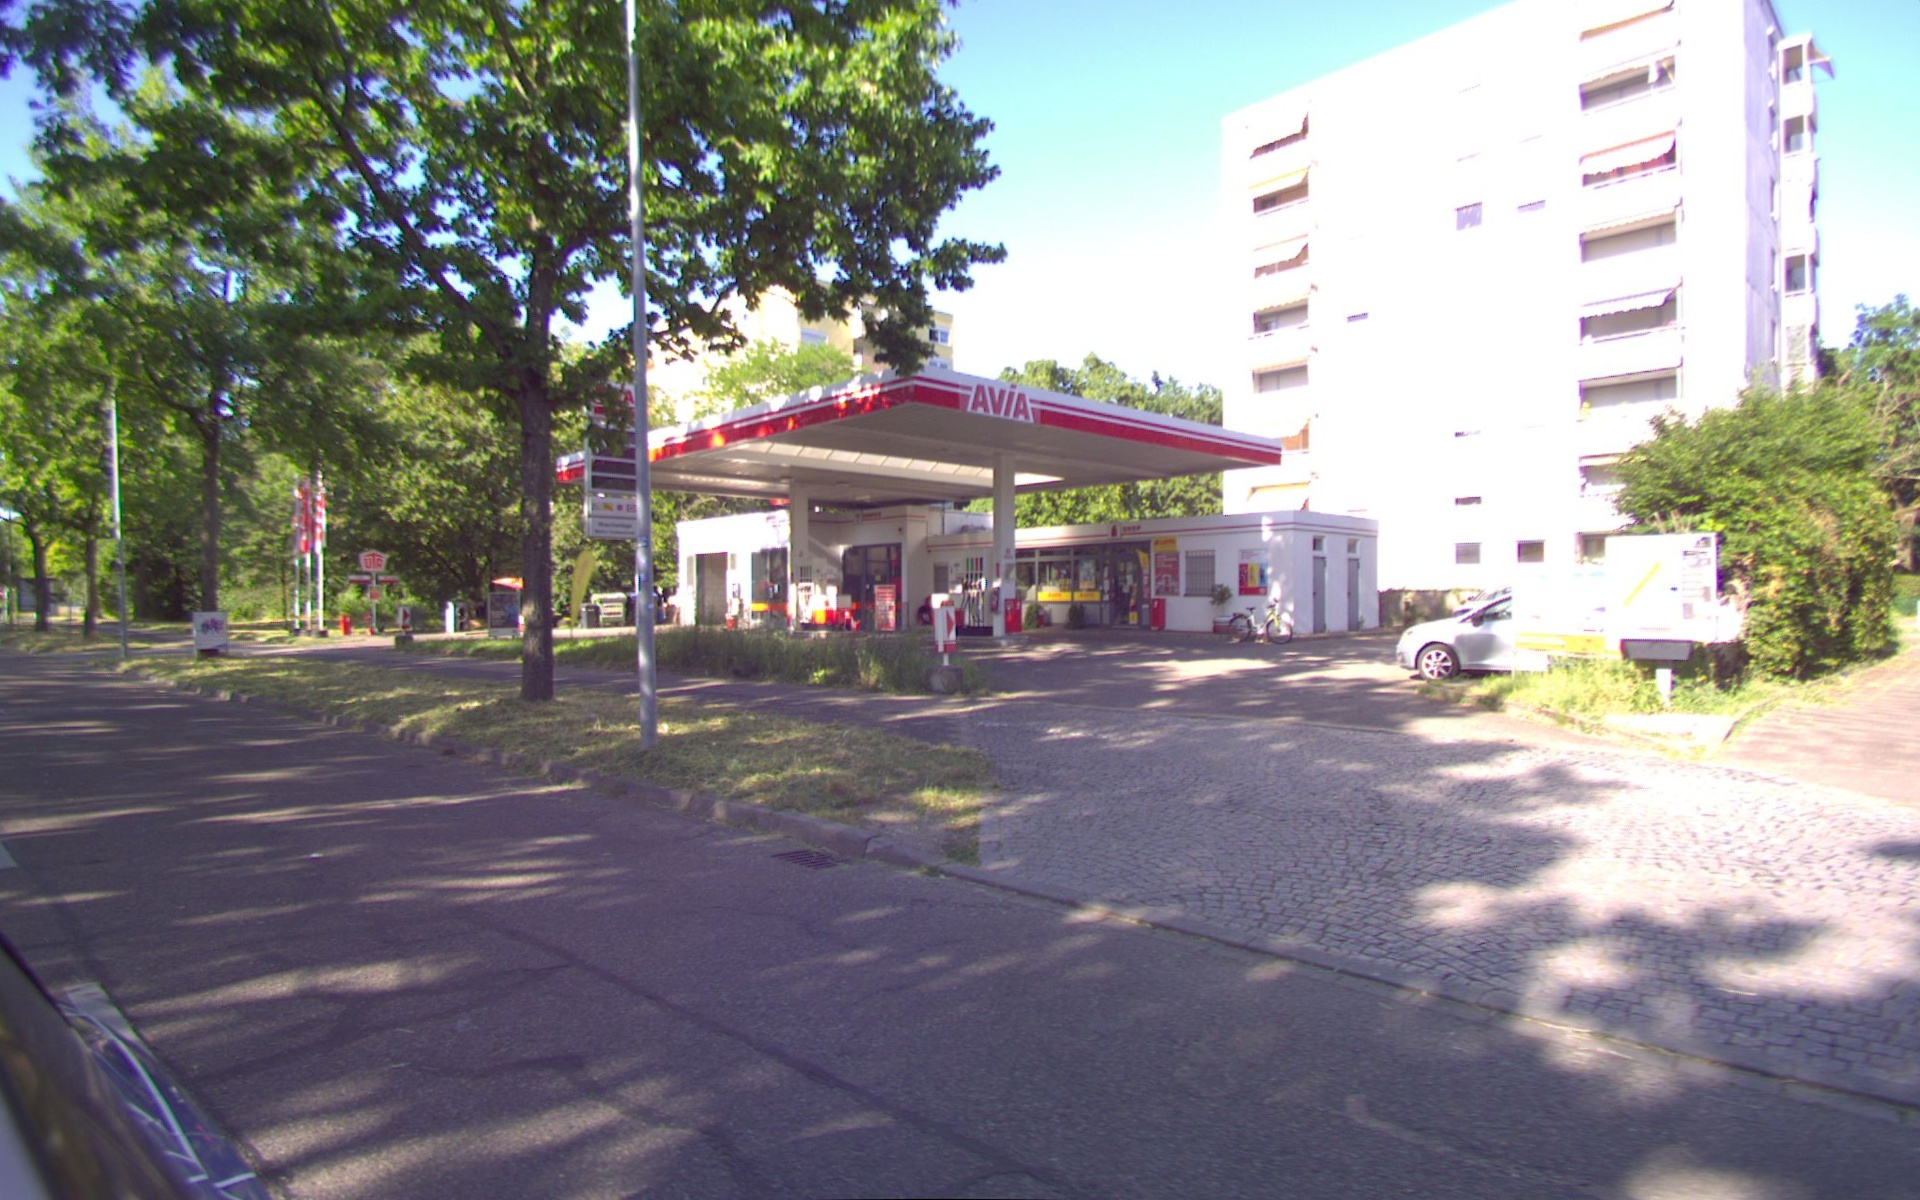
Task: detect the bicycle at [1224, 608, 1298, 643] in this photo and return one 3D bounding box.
[{"bbox_3d":[7.496,0.616,25.298,0.609,0.813,1.785,0,0,-34],"label":"bicycle"}]

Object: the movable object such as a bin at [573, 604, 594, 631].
[{"bbox_3d":[-15.819,0.724,42.506,0.768,1.094,0.562,0,0,42],"label":"movable object such as a bin"}]

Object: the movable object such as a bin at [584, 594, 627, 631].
[{"bbox_3d":[-15.125,0.504,43.204,1.267,1.553,1.290,0,0,42],"label":"movable object such as a bin"}]

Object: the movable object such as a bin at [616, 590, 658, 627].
[{"bbox_3d":[-14.132,0.353,44.272,1.163,1.553,1.290,0,1,42],"label":"movable object such as a bin"}]

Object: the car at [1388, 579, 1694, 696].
[{"bbox_3d":[8.191,0.465,14.484,1.527,1.433,3.492,-3,2,-41],"label":"car"}]

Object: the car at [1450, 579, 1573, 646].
[{"bbox_3d":[13.220,0.265,24.219,3.156,1.411,1.587,-3,2,-41],"label":"car"}]
